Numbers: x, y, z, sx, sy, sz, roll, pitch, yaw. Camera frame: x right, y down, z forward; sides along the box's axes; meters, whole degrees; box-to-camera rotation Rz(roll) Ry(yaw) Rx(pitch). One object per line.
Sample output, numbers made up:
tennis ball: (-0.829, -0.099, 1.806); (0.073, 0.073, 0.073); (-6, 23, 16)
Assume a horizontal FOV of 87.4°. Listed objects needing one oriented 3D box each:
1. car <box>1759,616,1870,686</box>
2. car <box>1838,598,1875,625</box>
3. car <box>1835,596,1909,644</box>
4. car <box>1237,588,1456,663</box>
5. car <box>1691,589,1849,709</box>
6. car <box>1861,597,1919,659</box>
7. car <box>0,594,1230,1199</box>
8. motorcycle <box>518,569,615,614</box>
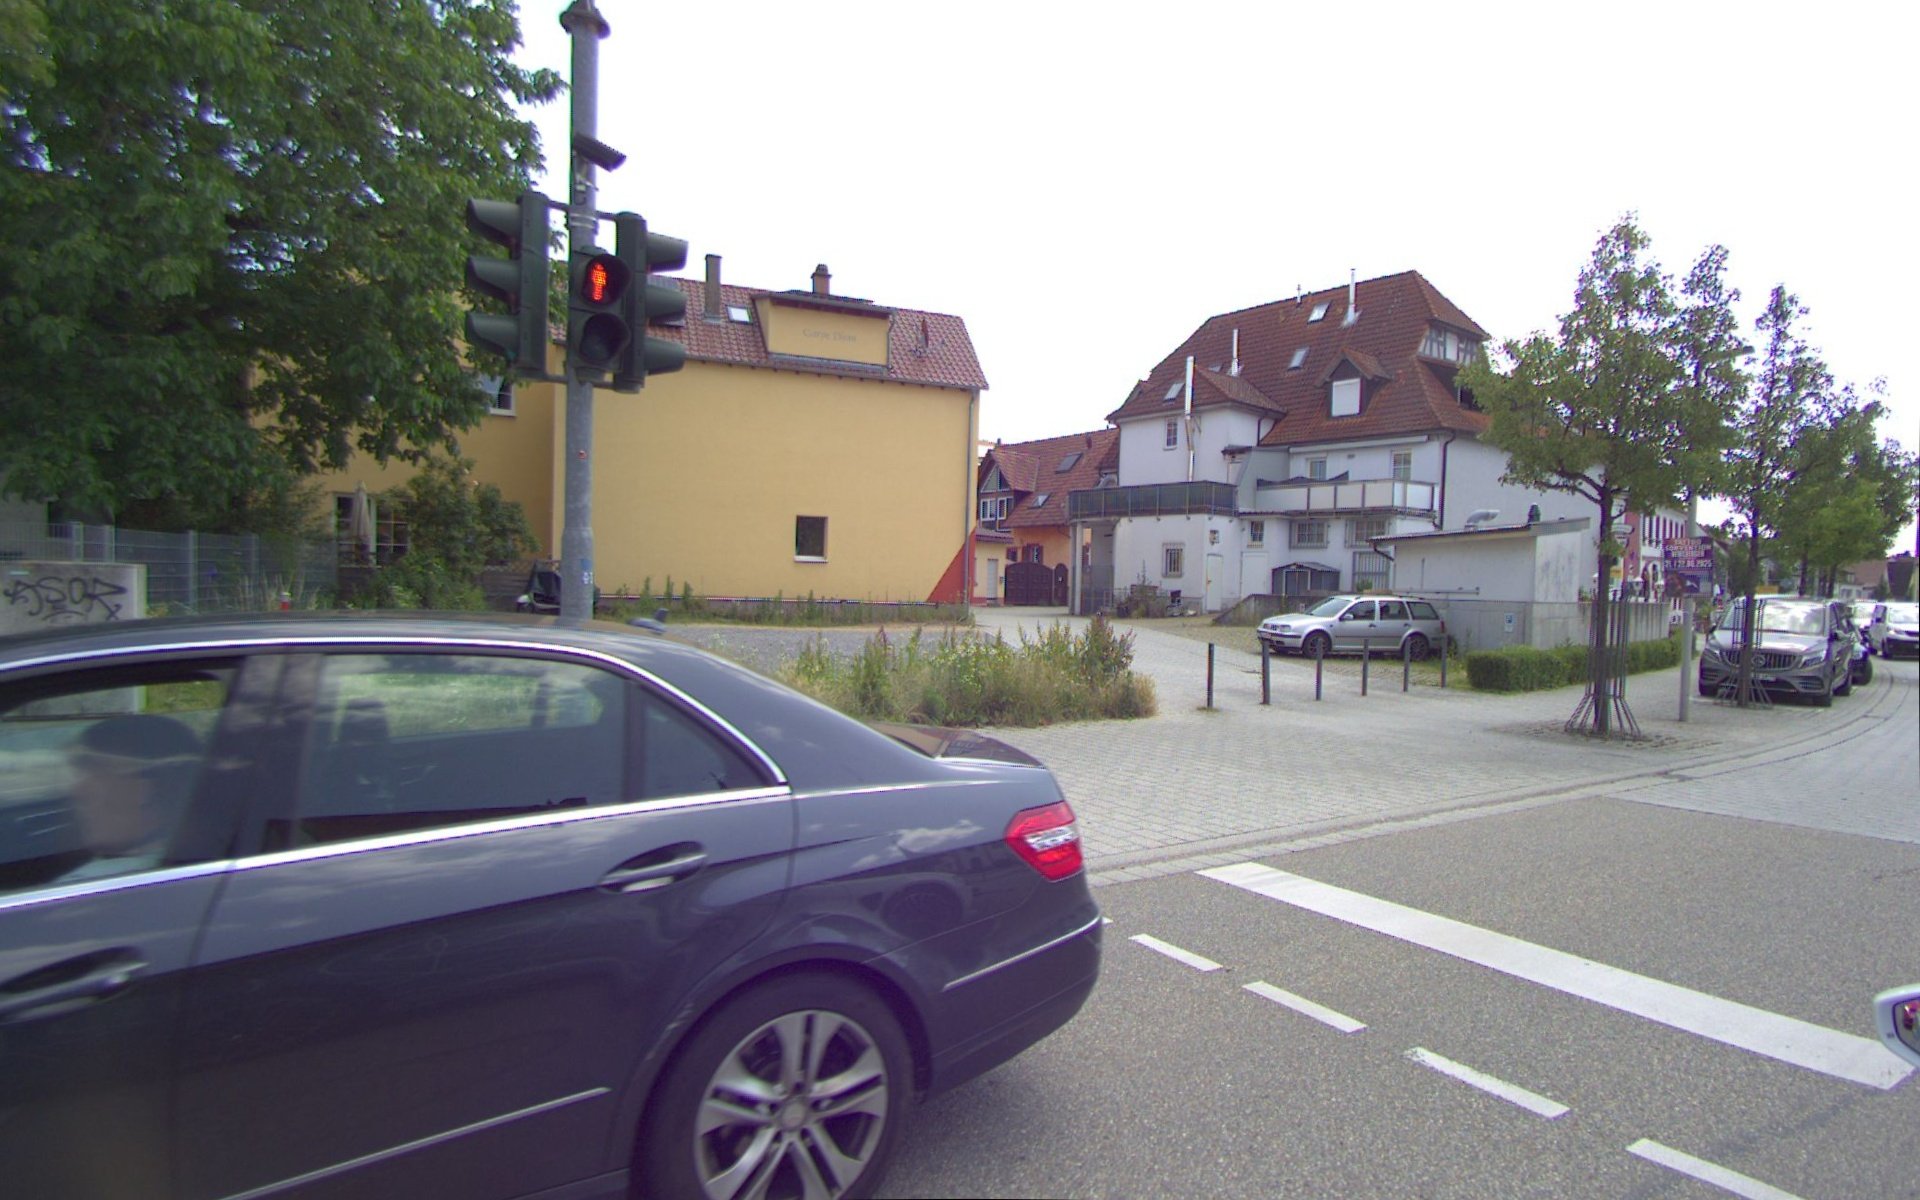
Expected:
car: (20.967, 1.171, 24.590); (1.796, 1.442, 4.510); (2, 1, 43)
car: (64.853, 0.835, 72.671); (1.617, 1.873, 3.593); (1, -1, 36)
car: (41.229, 0.879, 45.497); (1.968, 2.040, 4.721); (1, 1, 37)
car: (8.991, 0.580, 23.547); (4.358, 1.516, 1.995); (1, 3, -11)
car: (15.973, 0.844, 19.696); (1.965, 2.017, 5.014); (2, 1, 43)
car: (33.343, 0.948, 35.329); (1.968, 2.040, 4.721); (1, 1, 37)
car: (-1.652, 0.728, 2.496); (4.542, 1.454, 1.875); (1, -1, -31)
motorcycle: (-9.332, -0.197, 23.817); (2.042, 1.034, 0.777); (1, 1, -31)
